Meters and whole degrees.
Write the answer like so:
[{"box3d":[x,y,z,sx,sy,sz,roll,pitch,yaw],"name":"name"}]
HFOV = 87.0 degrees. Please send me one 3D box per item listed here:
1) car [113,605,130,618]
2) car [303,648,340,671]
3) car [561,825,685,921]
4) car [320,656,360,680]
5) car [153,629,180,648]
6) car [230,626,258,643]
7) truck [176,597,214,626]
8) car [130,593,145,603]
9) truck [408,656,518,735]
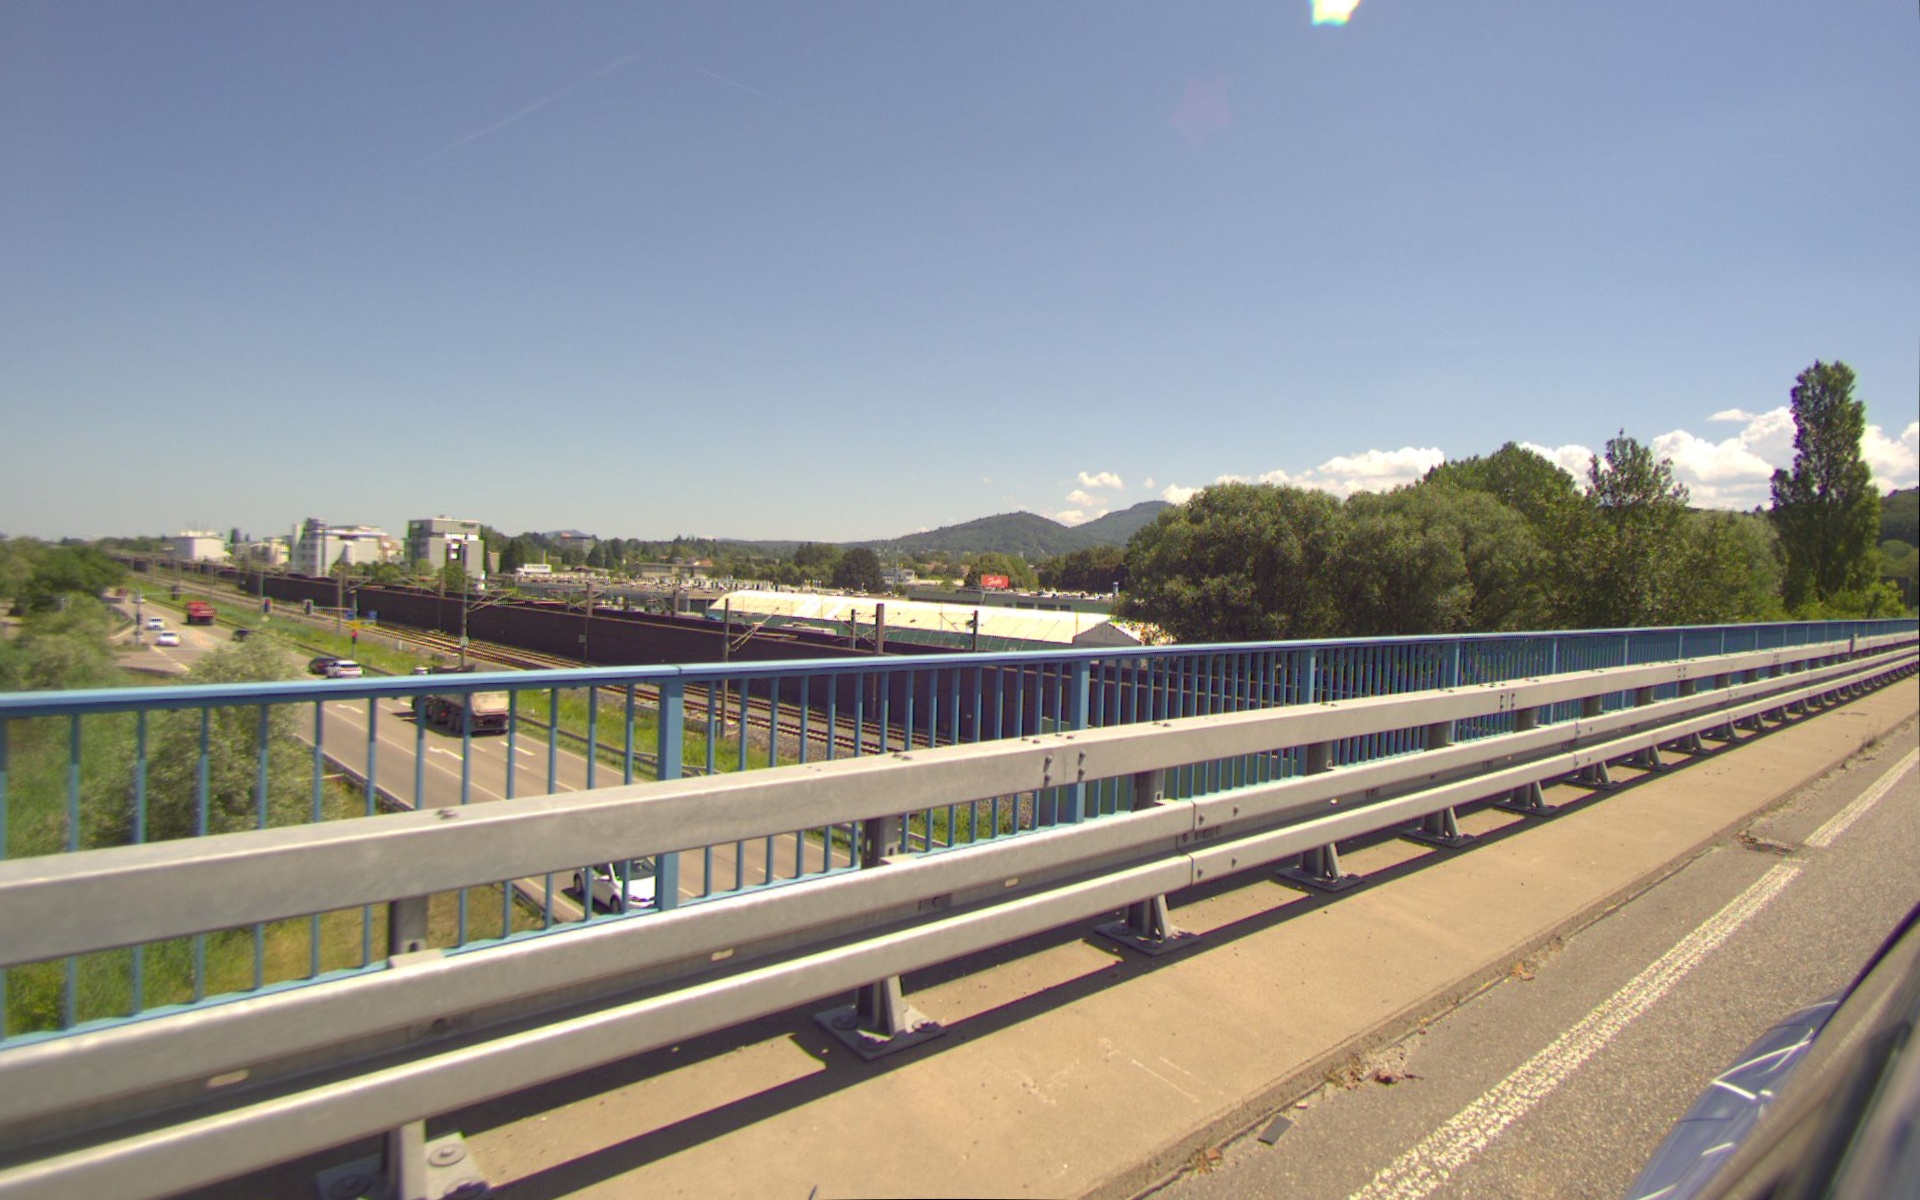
[{"box3d":[-128.105,1.741,154.581,1.964,1.638,4.239,3,0,-40],"name":"car"},{"box3d":[-55.646,5.168,88.201,1.965,1.638,4.237,3,0,-42],"name":"car"},{"box3d":[-10.336,8.221,30.885,1.966,1.638,4.235,3,0,-43],"name":"car"},{"box3d":[-50.896,5.553,83.059,1.965,1.638,4.237,3,0,-42],"name":"car"},{"box3d":[-81.869,3.998,104.431,1.964,1.638,4.239,3,0,-40],"name":"car"},{"box3d":[-83.877,4.016,118.578,1.967,1.638,4.234,3,0,-44],"name":"car"},{"box3d":[-110.042,1.642,145.523,2.828,3.467,10.963,2,1,-45],"name":"truck"},{"box3d":[-159.447,-0.448,196.157,1.965,1.638,4.237,3,0,-42],"name":"car"},{"box3d":[-31.368,5.794,63.514,2.826,3.467,11.918,2,1,-43],"name":"truck"}]
